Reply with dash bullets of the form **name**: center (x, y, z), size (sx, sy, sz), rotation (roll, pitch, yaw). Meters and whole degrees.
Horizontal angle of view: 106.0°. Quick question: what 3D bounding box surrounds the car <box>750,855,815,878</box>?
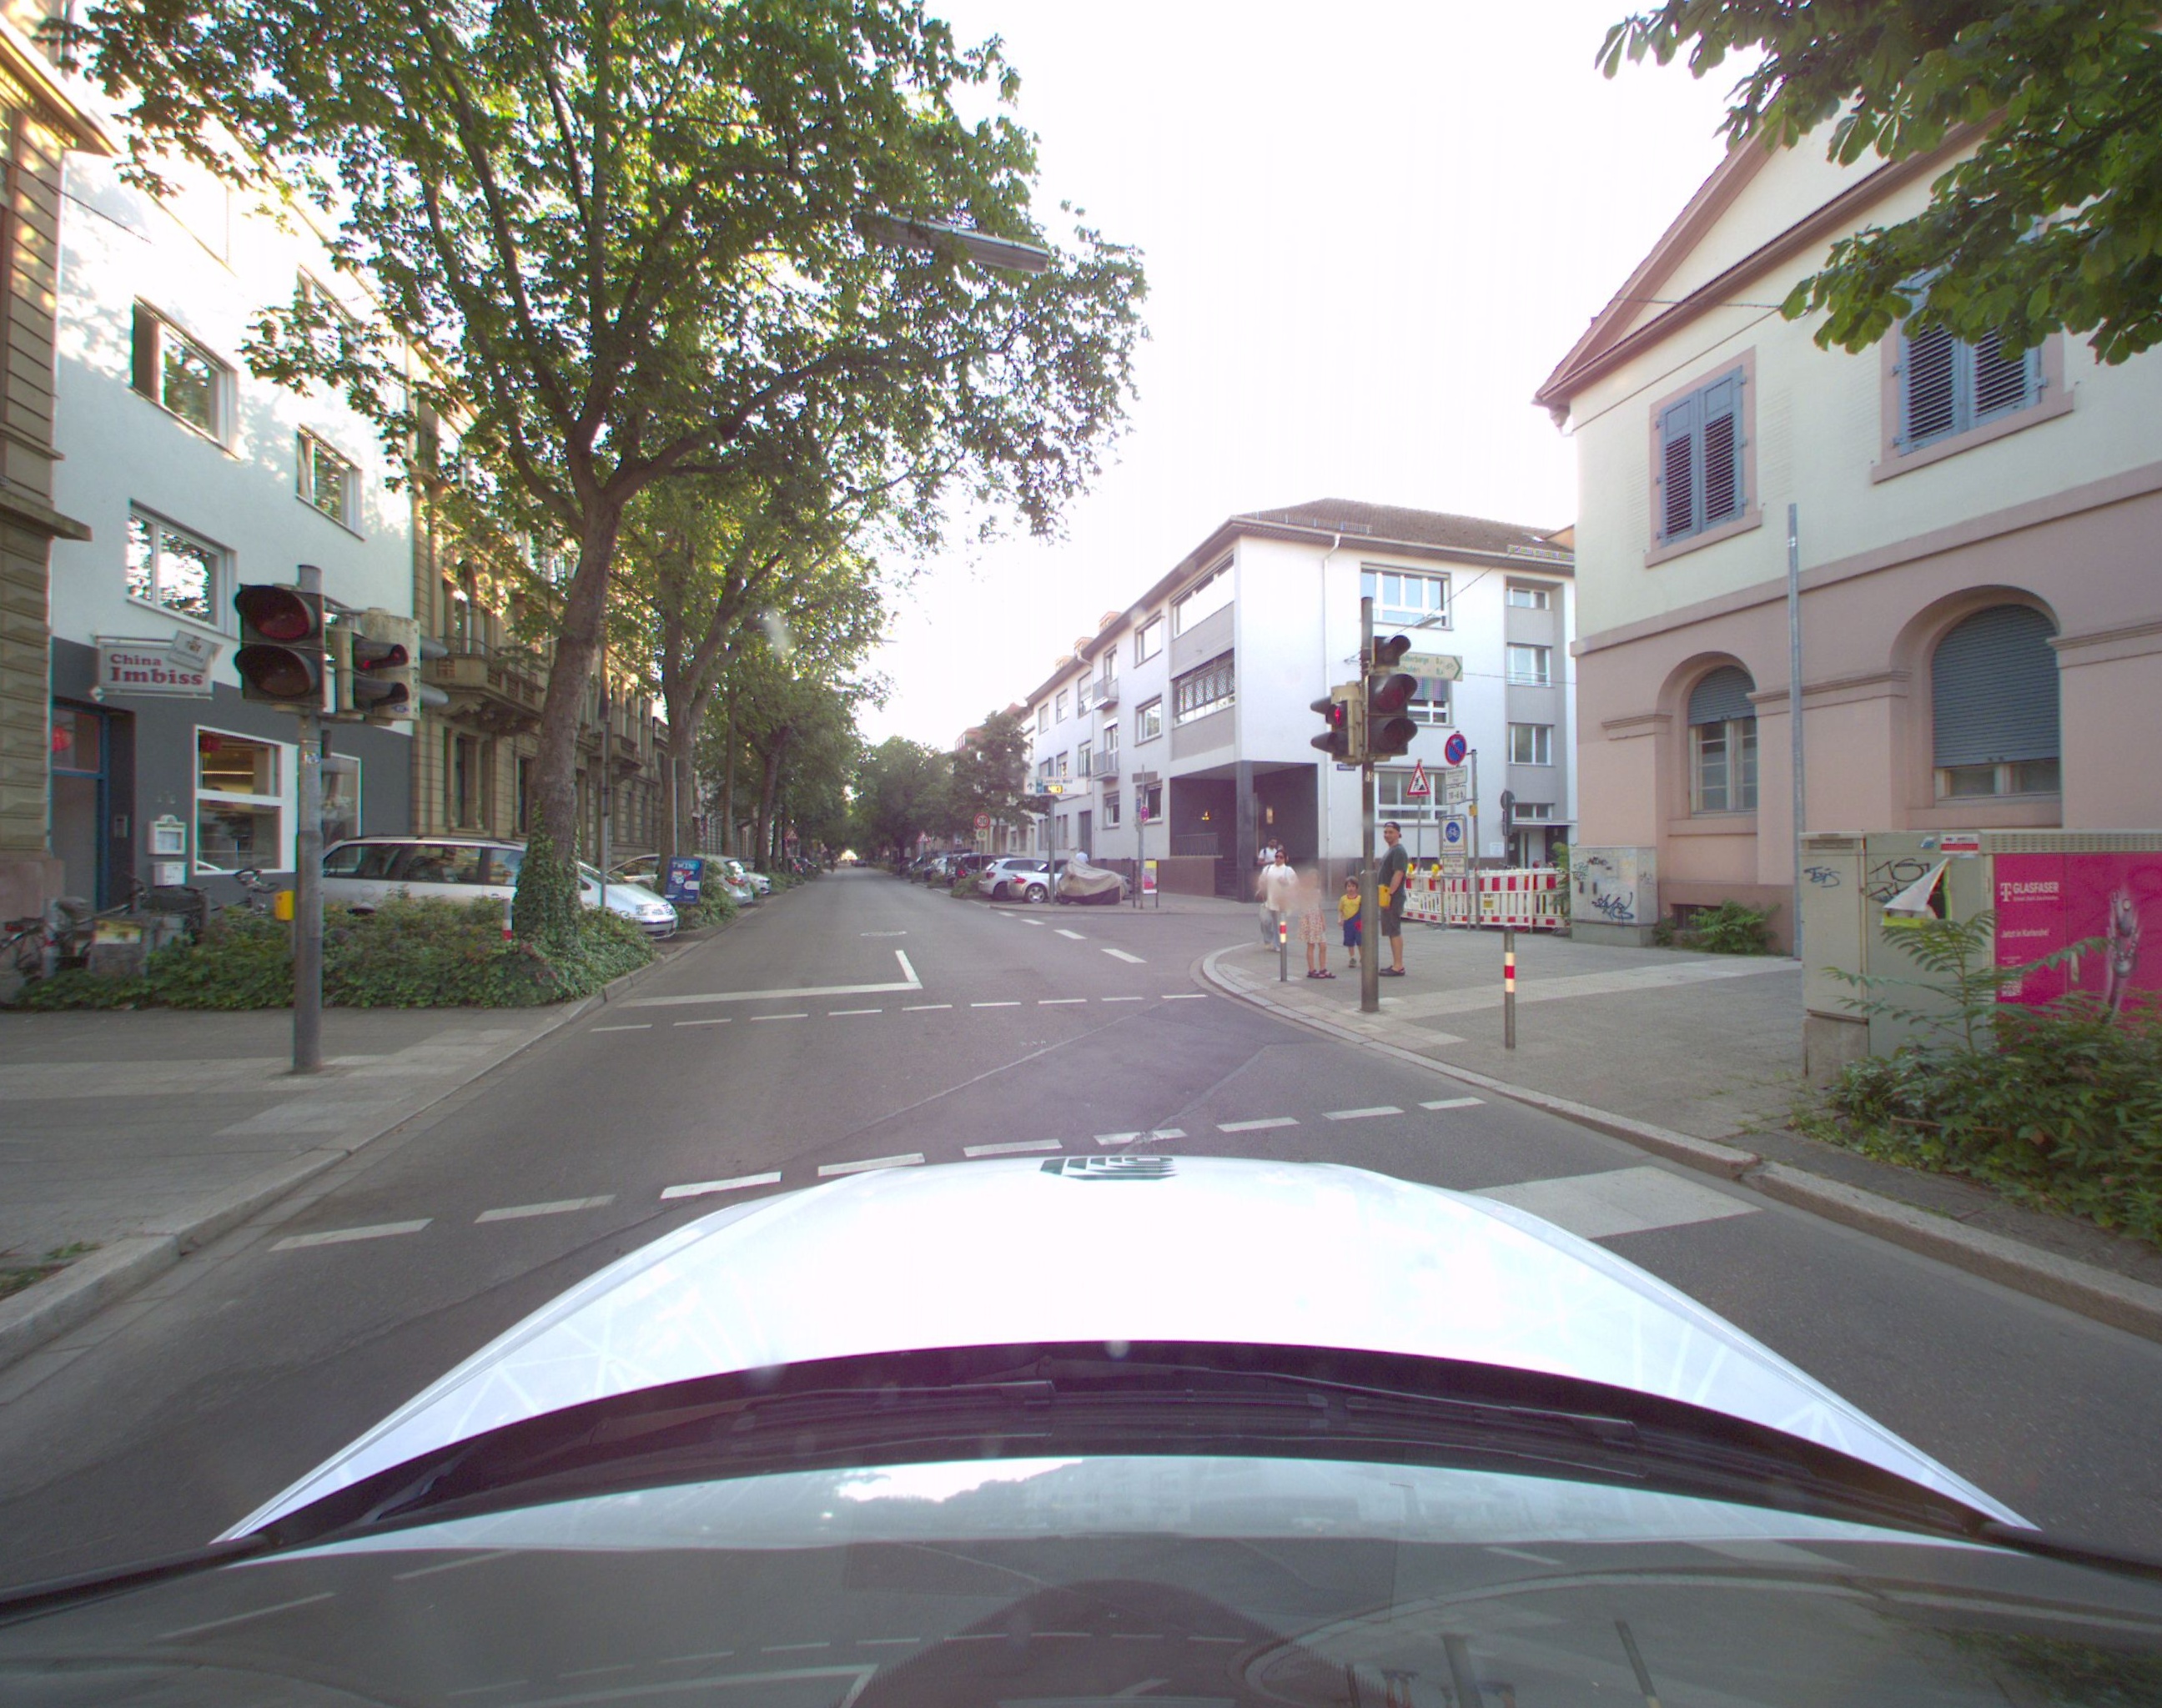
- **car**: center (-22.987, 0.930, 62.802), size (4.557, 1.691, 1.823), rotation (0, 0, -16)

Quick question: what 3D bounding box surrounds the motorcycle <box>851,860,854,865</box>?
- **motorcycle**: center (-54.947, 2.120, 195.715), size (0.820, 1.236, 2.014), rotation (1, -1, -16)

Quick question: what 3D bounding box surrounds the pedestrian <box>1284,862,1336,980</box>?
- **pedestrian**: center (2.686, 0.765, 9.584), size (0.502, 1.336, 0.542), rotation (0, 0, 7)

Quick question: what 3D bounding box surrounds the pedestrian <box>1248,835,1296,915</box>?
- **pedestrian**: center (4.547, 0.487, 19.471), size (0.768, 1.841, 0.938), rotation (0, 0, -15)

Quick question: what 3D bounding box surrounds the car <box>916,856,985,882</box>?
- **car**: center (-8.008, 0.902, 49.980), size (4.023, 1.530, 1.697), rotation (0, 0, -17)

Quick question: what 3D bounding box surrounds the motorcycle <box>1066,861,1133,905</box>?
- **motorcycle**: center (0.504, 0.800, 22.775), size (1.798, 1.199, 0.611), rotation (-1, 0, -7)

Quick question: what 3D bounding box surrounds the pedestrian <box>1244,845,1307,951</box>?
- **pedestrian**: center (2.903, 0.633, 12.107), size (0.767, 1.501, 0.806), rotation (-2, -1, 21)

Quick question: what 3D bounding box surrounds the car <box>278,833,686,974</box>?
- **car**: center (-8.613, 0.626, 12.257), size (4.562, 1.835, 1.821), rotation (-1, 0, -19)

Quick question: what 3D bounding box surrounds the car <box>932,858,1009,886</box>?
- **car**: center (-6.142, 0.966, 45.179), size (4.023, 1.409, 1.697), rotation (-1, 0, -17)

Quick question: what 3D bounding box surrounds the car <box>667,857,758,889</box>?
- **car**: center (-19.095, 0.953, 42.421), size (4.047, 1.590, 1.823), rotation (-1, 0, -16)

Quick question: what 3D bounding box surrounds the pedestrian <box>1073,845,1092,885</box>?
- **pedestrian**: center (0.063, 0.480, 36.383), size (0.704, 1.752, 0.696), rotation (0, 0, -12)

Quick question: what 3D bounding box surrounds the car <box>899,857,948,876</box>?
- **car**: center (-13.373, 1.064, 69.295), size (3.979, 1.578, 1.903), rotation (1, -1, -11)

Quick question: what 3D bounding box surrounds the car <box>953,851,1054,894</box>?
- **car**: center (-3.282, 0.753, 34.334), size (4.023, 1.690, 1.697), rotation (-1, 0, -17)

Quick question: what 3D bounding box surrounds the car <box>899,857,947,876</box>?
- **car**: center (-13.831, 1.075, 71.360), size (4.023, 1.602, 1.697), rotation (0, 0, -17)

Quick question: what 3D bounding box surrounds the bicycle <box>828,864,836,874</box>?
- **bicycle**: center (-24.502, 1.492, 80.045), size (0.573, 0.949, 1.731), rotation (1, -1, -22)

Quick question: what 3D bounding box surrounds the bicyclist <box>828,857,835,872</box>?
- **bicyclist**: center (-24.502, 1.044, 80.061), size (0.573, 1.470, 0.638), rotation (1, -1, -22)

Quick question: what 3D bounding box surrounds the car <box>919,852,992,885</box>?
- **car**: center (-7.289, 0.812, 47.231), size (4.023, 1.815, 1.697), rotation (-1, 0, -17)

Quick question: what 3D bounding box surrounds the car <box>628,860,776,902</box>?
- **car**: center (-13.487, 0.918, 29.271), size (4.557, 1.372, 1.823), rotation (-1, 0, -16)

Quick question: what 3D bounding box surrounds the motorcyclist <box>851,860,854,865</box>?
- **motorcyclist**: center (-54.924, 2.116, 195.634), size (0.820, 1.236, 0.845), rotation (1, -1, -16)

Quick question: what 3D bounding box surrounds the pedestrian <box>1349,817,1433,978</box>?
- **pedestrian**: center (3.654, 0.484, 9.662), size (0.881, 1.815, 0.798), rotation (-1, 2, 18)

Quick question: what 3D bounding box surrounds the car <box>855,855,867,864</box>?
- **car**: center (-38.123, 0.966, 141.252), size (1.829, 1.561, 4.004), rotation (1, -1, -17)

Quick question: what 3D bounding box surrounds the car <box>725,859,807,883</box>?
- **car**: center (-19.568, 1.053, 50.822), size (4.557, 1.410, 1.823), rotation (-1, 0, -16)

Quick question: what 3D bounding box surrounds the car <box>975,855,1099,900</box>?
- **car**: center (-1.540, 0.780, 28.207), size (4.023, 1.442, 1.697), rotation (-1, 0, -17)

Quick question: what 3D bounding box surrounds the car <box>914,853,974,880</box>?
- **car**: center (-9.595, 0.866, 57.065), size (4.023, 1.830, 1.697), rotation (0, 0, -17)

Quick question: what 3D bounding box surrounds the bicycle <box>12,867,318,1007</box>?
- **bicycle**: center (-9.222, 0.745, 8.428), size (0.735, 1.186, 2.621), rotation (1, -1, -15)

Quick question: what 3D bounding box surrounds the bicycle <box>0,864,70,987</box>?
- **bicycle**: center (-10.851, 0.711, 7.418), size (0.637, 1.202, 2.551), rotation (-1, 0, -14)

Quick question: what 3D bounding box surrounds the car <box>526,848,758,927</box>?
- **car**: center (-10.321, 0.740, 19.537), size (4.557, 1.689, 1.823), rotation (-1, 0, -16)

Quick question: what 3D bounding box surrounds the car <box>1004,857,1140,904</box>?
- **car**: center (-0.321, 0.792, 25.842), size (4.022, 1.342, 1.698), rotation (-1, 0, -16)

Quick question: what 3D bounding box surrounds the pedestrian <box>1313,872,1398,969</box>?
- **pedestrian**: center (3.446, 0.806, 10.261), size (0.568, 1.121, 0.830), rotation (-2, 1, -27)
